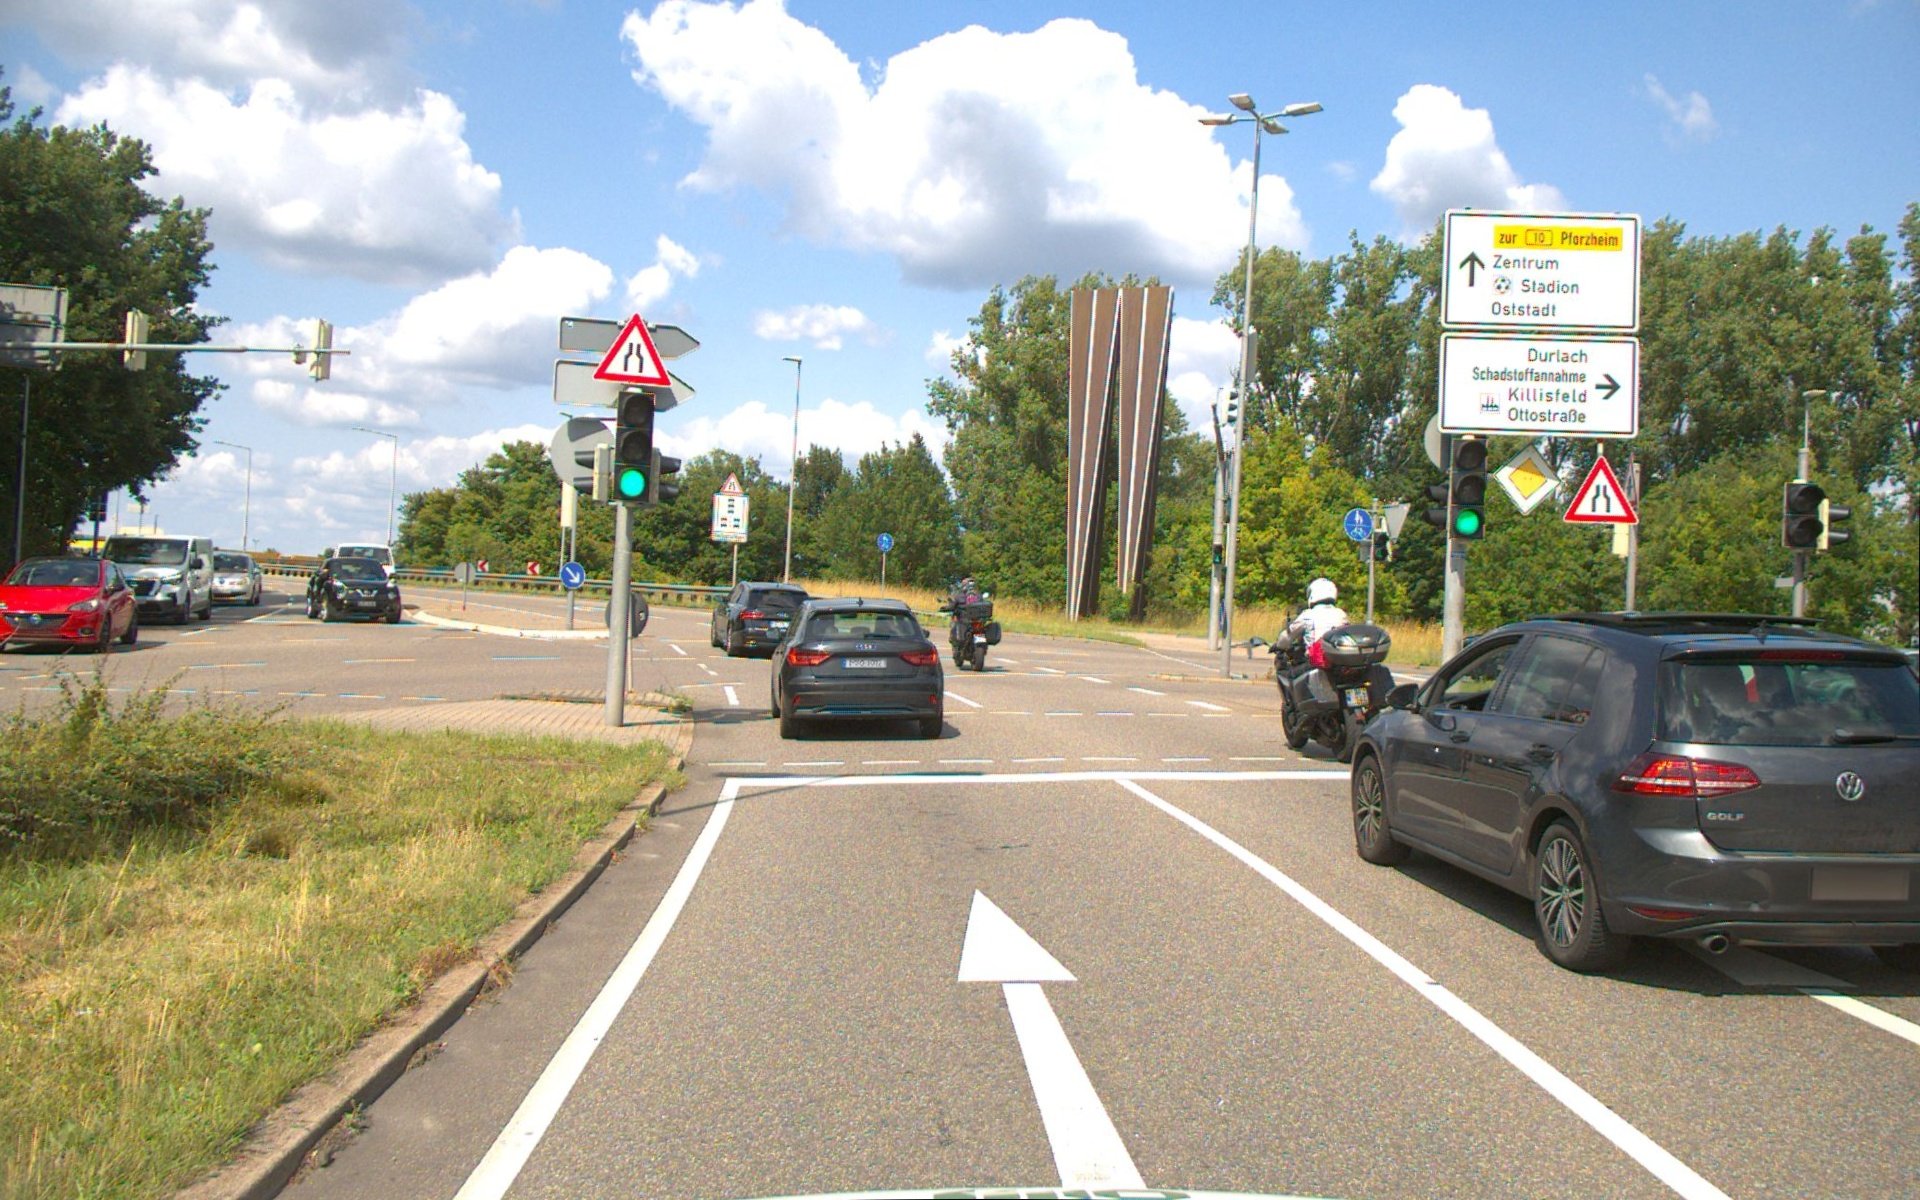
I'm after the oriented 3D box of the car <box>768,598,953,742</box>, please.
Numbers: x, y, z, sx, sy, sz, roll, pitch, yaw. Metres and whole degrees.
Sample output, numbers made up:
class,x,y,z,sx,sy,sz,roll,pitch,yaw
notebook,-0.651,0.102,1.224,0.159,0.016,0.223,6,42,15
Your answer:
class,x,y,z,sx,sy,sz,roll,pitch,yaw
car,-1.196,0.698,18.264,1.651,1.412,3.731,1,0,-10

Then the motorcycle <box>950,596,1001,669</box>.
class,x,y,z,sx,sy,sz,roll,pitch,yaw
motorcycle,0.286,0.573,30.938,0.869,1.269,2.399,2,0,0

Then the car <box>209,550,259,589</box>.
class,x,y,z,sx,sy,sz,roll,pitch,yaw
car,-29.169,-1.225,66.388,1.662,1.503,4.673,0,1,-26

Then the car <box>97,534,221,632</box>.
class,x,y,z,sx,sy,sz,roll,pitch,yaw
car,-18.035,-0.379,37.456,1.964,2.049,5.106,0,0,-19

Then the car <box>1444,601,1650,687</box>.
class,x,y,z,sx,sy,sz,roll,pitch,yaw
car,13.775,1.016,38.958,4.118,1.674,1.837,4,1,-2

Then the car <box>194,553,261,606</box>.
class,x,y,z,sx,sy,sz,roll,pitch,yaw
car,-22.073,-0.637,49.936,1.709,1.547,4.040,0,1,-22

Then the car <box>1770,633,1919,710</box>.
class,x,y,z,sx,sy,sz,roll,pitch,yaw
car,19.789,1.556,35.016,4.438,1.399,1.646,4,1,-2

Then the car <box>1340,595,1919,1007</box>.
class,x,y,z,sx,sy,sz,roll,pitch,yaw
car,3.233,0.754,8.093,1.610,1.504,3.869,2,0,-4

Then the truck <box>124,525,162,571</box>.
class,x,y,z,sx,sy,sz,roll,pitch,yaw
truck,-48.759,-3.099,98.771,1.969,2.666,6.053,0,2,-26

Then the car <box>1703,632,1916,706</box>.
class,x,y,z,sx,sy,sz,roll,pitch,yaw
car,19.937,1.608,38.910,4.118,1.399,1.646,4,1,-2

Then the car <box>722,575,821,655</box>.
class,x,y,z,sx,sy,sz,roll,pitch,yaw
car,-3.781,0.283,33.647,1.609,1.504,3.871,2,0,-1

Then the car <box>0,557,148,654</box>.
class,x,y,z,sx,sy,sz,roll,pitch,yaw
car,-14.502,0.062,27.014,1.556,1.457,3.982,1,0,-17

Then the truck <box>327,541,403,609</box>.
class,x,y,z,sx,sy,sz,roll,pitch,yaw
truck,-18.641,-0.805,51.682,1.934,1.946,5.333,2,1,-23

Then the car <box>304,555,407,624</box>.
class,x,y,z,sx,sy,sz,roll,pitch,yaw
car,-14.927,-0.282,40.757,1.681,1.584,3.782,1,1,-31

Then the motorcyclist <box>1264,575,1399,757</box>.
class,x,y,z,sx,sy,sz,roll,pitch,yaw
motorcyclist,3.552,0.610,15.904,0.947,1.648,1.124,2,0,-3

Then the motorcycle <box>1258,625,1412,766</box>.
class,x,y,z,sx,sy,sz,roll,pitch,yaw
motorcycle,3.507,0.860,15.710,0.773,1.151,2.398,2,0,-3

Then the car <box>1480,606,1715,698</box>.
class,x,y,z,sx,sy,sz,roll,pitch,yaw
car,13.385,1.080,34.887,4.195,1.645,1.844,4,-1,-2

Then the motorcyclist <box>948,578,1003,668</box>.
class,x,y,z,sx,sy,sz,roll,pitch,yaw
motorcyclist,0.291,0.416,31.058,0.946,1.624,1.125,2,0,0
